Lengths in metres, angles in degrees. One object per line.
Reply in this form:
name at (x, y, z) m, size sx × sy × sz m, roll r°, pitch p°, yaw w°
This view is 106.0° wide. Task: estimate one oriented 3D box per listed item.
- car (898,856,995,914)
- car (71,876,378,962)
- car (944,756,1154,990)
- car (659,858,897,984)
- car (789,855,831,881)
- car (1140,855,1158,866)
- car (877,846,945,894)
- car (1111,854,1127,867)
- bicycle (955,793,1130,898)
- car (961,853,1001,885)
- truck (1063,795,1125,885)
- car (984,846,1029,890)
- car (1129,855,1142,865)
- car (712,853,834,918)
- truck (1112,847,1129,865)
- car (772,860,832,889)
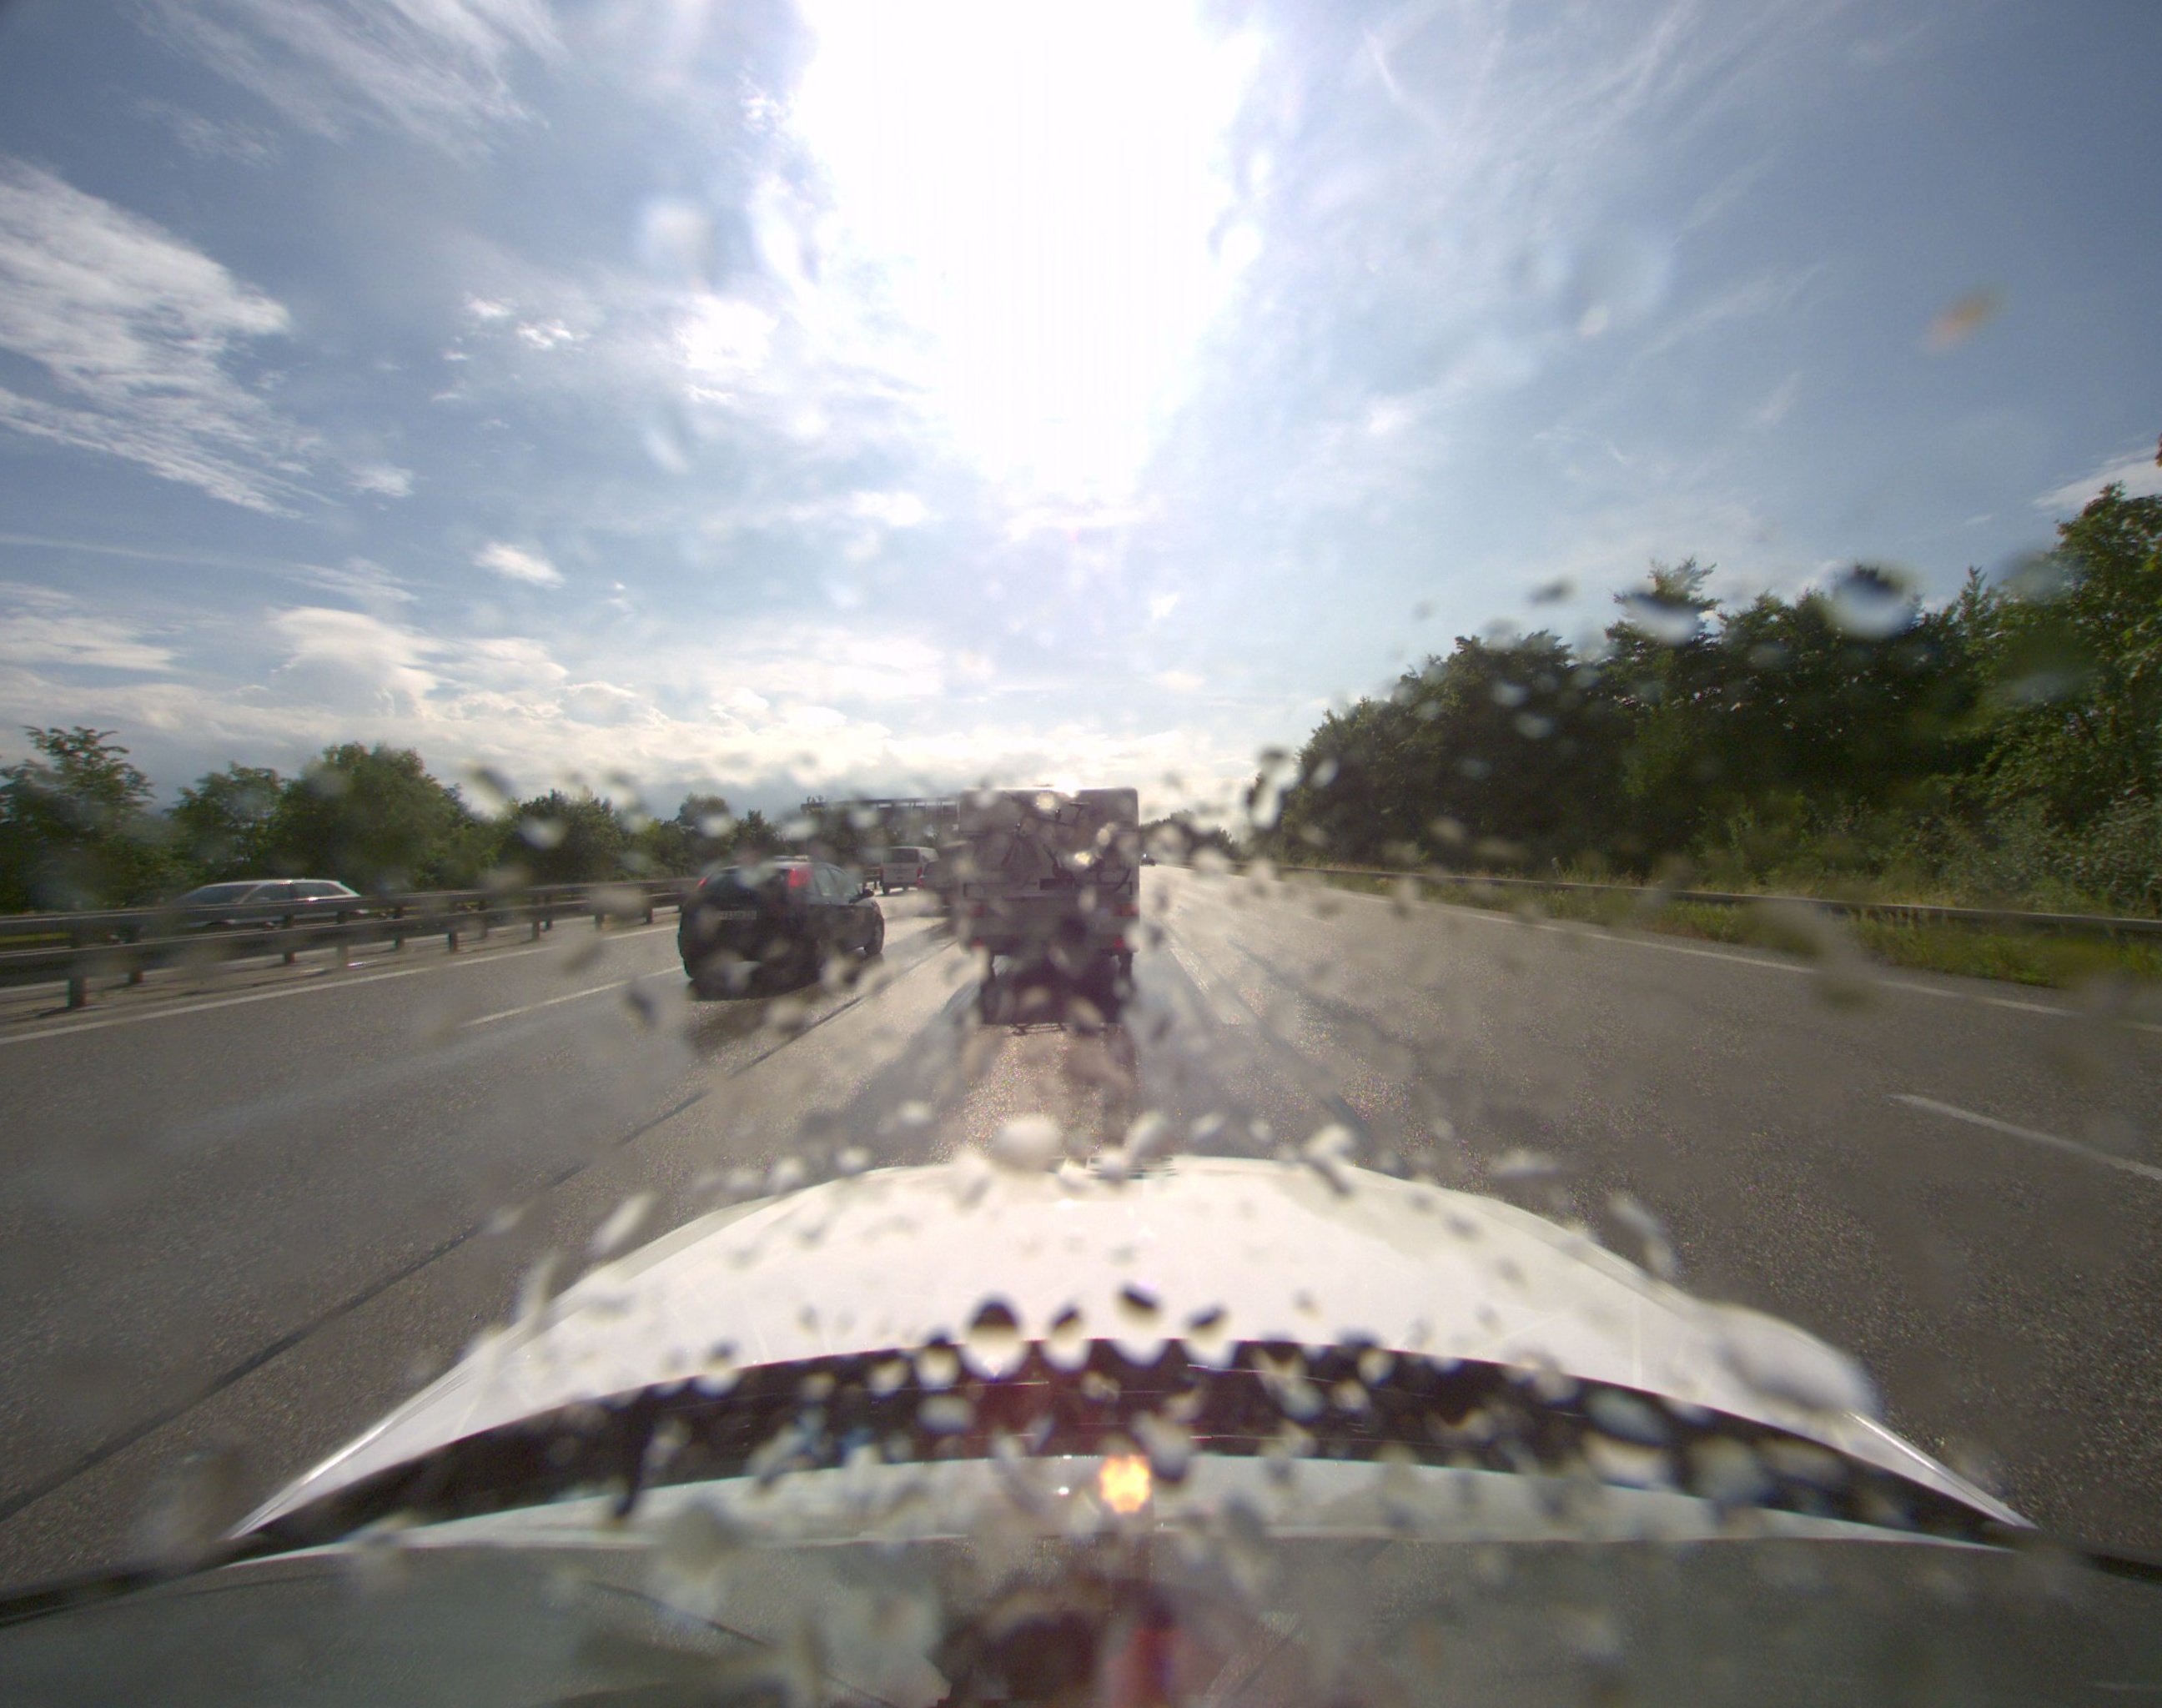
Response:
car at (-3.723, 0.818, 23.258) m, size 1.980 × 1.458 × 3.828 m, roll -1°, pitch 0°, yaw 2°
car at (-16.572, 1.185, 16.127) m, size 1.856 × 1.391 × 3.998 m, roll -1°, pitch 0°, yaw -1°
car at (-0.295, 0.234, 11.395) m, size 2.401 × 2.674 × 4.002 m, roll -1°, pitch 0°, yaw 2°
car at (-4.044, 0.811, 11.649) m, size 1.752 × 1.443 × 4.002 m, roll -1°, pitch 0°, yaw 2°
car at (-21.843, 1.081, 65.788) m, size 1.987 × 2.013 × 4.361 m, roll -1°, pitch 0°, yaw 0°
car at (9.274, 0.876, 111.359) m, size 1.872 × 1.494 × 3.996 m, roll 0°, pitch 0°, yaw -3°
car at (-7.350, 0.645, 35.795) m, size 1.841 × 1.934 × 5.016 m, roll -1°, pitch 0°, yaw 1°
car at (4.666, 0.781, 99.733) m, size 1.829 × 1.558 × 4.000 m, roll -1°, pitch 0°, yaw 0°
bicycle at (-0.422, -0.093, 9.199) m, size 1.926 × 1.141 × 0.384 m, roll -1°, pitch -1°, yaw 2°
car at (-5.468, 0.808, 44.977) m, size 1.767 × 1.662 × 3.998 m, roll 0°, pitch 0°, yaw -1°
truck at (0.739, -0.702, 47.648) m, size 3.135 × 4.626 × 10.735 m, roll -1°, pitch 0°, yaw 0°
car at (-3.537, 0.660, 39.208) m, size 1.871 × 2.014 × 3.998 m, roll 0°, pitch 0°, yaw -1°
car at (8.638, 0.967, 130.000) m, size 1.870 × 1.629 × 4.000 m, roll -1°, pitch 0°, yaw 0°
car at (-8.218, 0.780, 22.095) m, size 1.777 × 1.578 × 3.915 m, roll -1°, pitch 0°, yaw 0°
truck at (5.662, 0.252, 116.959) m, size 2.406 × 2.443 × 6.056 m, roll -1°, pitch 0°, yaw 2°
car at (-14.824, 1.072, 43.536) m, size 1.661 × 1.442 × 4.002 m, roll -1°, pitch 0°, yaw 2°
